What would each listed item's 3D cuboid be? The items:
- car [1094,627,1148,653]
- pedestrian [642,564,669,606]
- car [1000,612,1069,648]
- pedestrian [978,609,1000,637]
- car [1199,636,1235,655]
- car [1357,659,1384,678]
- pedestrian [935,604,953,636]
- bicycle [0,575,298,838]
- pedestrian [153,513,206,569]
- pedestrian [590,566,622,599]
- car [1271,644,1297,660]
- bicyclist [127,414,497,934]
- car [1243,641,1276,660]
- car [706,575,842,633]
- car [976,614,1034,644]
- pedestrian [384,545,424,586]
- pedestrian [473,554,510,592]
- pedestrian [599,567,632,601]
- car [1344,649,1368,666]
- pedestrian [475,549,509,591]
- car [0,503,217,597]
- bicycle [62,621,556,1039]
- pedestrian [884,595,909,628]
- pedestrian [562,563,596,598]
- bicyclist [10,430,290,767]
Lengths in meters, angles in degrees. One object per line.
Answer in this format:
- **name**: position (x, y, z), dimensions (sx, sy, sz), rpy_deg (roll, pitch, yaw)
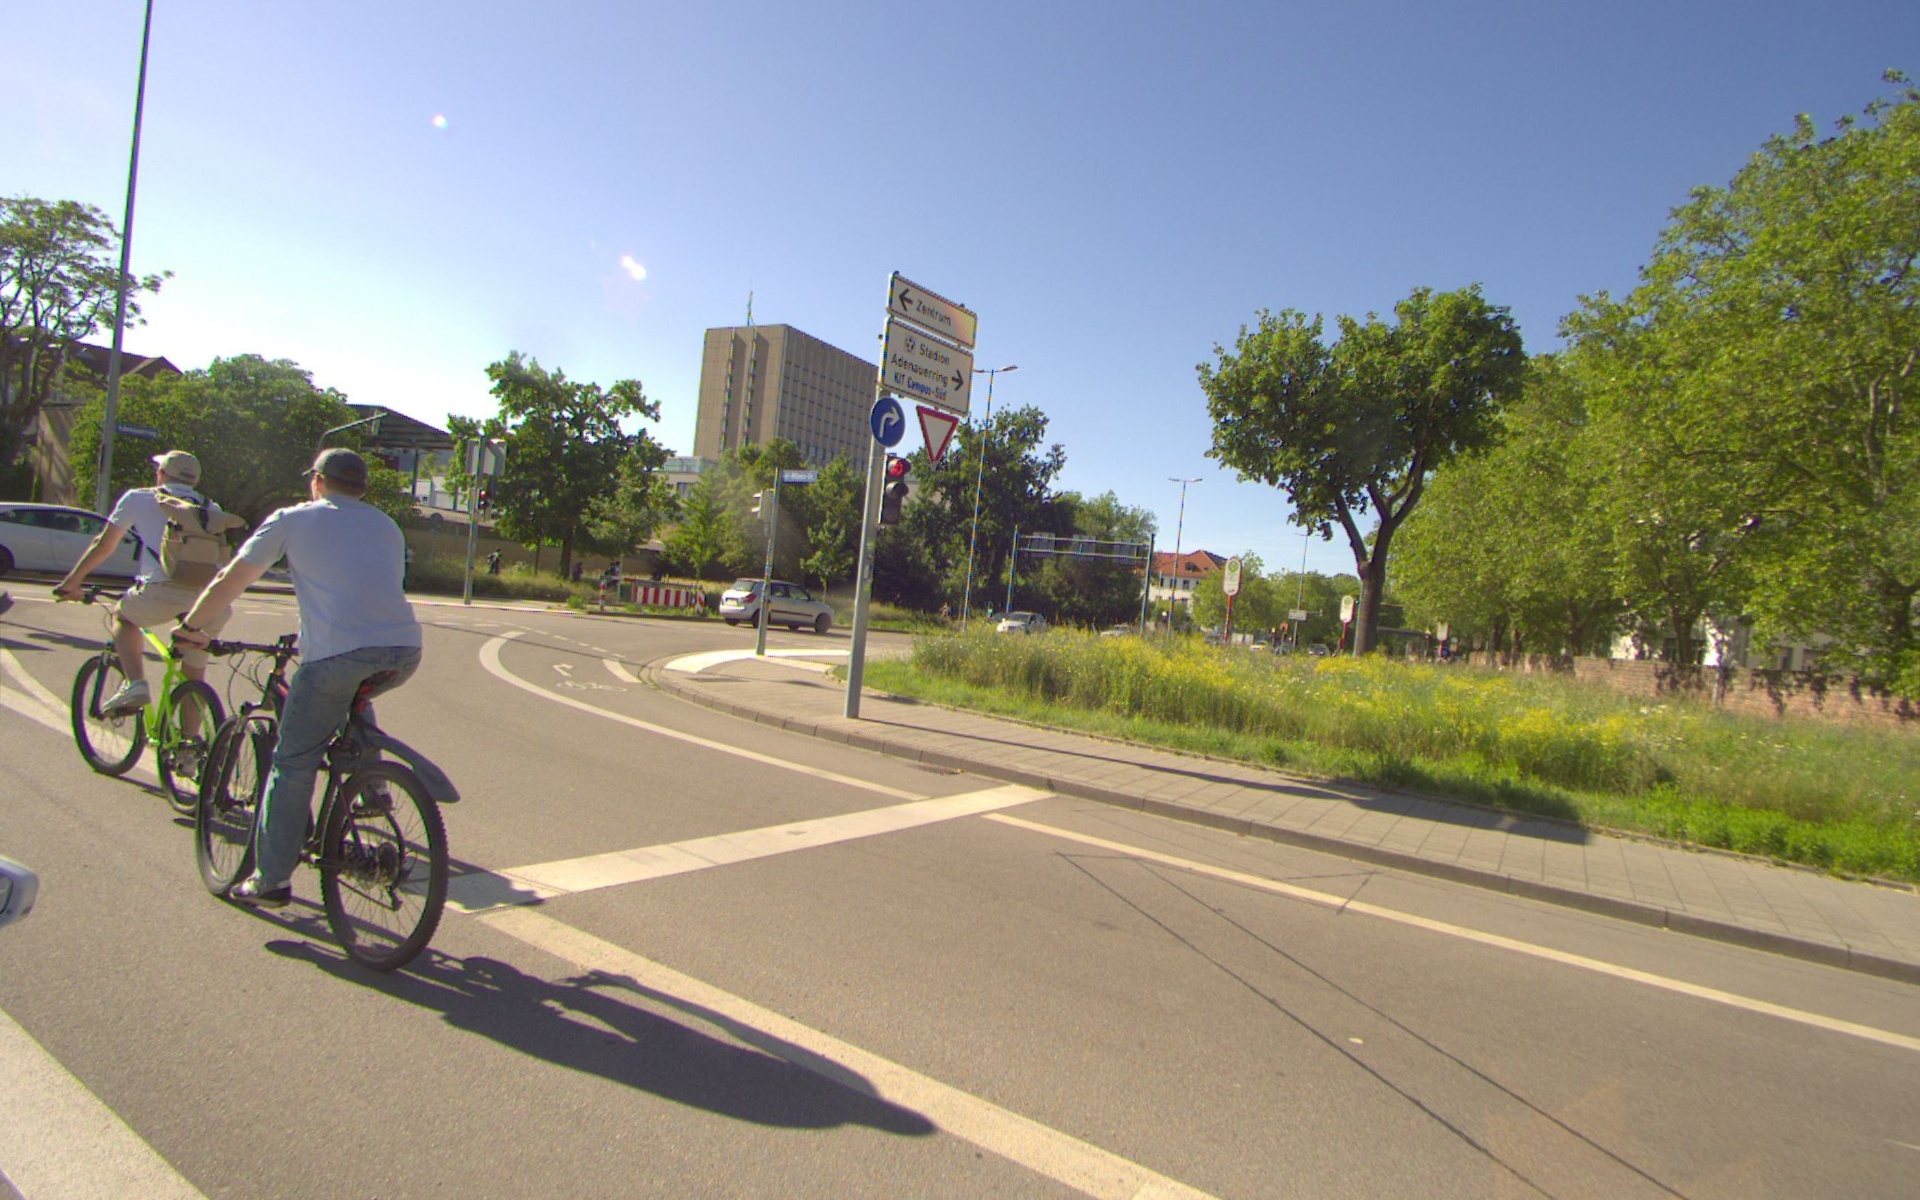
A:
- **car**: position (12.506, 3.109, 78.055), dimensions (1.909, 1.613, 4.860), rpy_deg (7, 0, 38)
- **pedestrian**: position (-16.369, -0.802, 54.020), dimensions (0.800, 2.106, 0.896), rpy_deg (7, 1, 35)
- **car**: position (4.290, 1.744, 57.503), dimensions (1.882, 1.625, 4.124), rpy_deg (7, 0, 37)
- **pedestrian**: position (2.335, 1.821, 80.452), dimensions (1.065, 2.106, 1.231), rpy_deg (7, 1, 35)
- **car**: position (26.594, 4.696, 103.923), dimensions (1.969, 1.625, 4.504), rpy_deg (7, 0, 35)
- **car**: position (38.852, 6.498, 95.151), dimensions (1.712, 1.535, 3.993), rpy_deg (7, 0, 29)
- **pedestrian**: position (-1.158, 1.420, 72.374), dimensions (0.633, 2.194, 0.912), rpy_deg (7, 1, 35)
- **bicycle**: position (-4.424, 0.508, 5.363), dimensions (1.813, 1.063, 0.672), rpy_deg (6, -1, 31)
- **pedestrian**: position (-28.990, -2.176, 37.381), dimensions (0.953, 1.879, 1.294), rpy_deg (7, 1, 43)
- **pedestrian**: position (-17.942, -0.897, 51.007), dimensions (0.865, 1.540, 1.144), rpy_deg (7, 1, 35)
- **car**: position (39.395, 6.292, 122.173), dimensions (1.891, 1.625, 4.073), rpy_deg (7, 0, 33)
- **bicyclist**: position (-2.429, 0.228, 3.797), dimensions (0.851, 1.695, 0.741), rpy_deg (7, 1, 30)
- **car**: position (31.385, 5.296, 105.255), dimensions (1.968, 1.625, 4.127), rpy_deg (7, 0, 35)
- **car**: position (-5.803, 0.154, 31.680), dimensions (1.866, 1.419, 3.842), rpy_deg (3, -4, 40)
- **car**: position (2.925, 1.873, 64.406), dimensions (1.806, 1.590, 3.990), rpy_deg (7, 0, 33)
- **pedestrian**: position (-23.324, -1.443, 42.200), dimensions (0.917, 1.540, 1.083), rpy_deg (7, 1, 41)
- **pedestrian**: position (-20.848, -1.199, 44.764), dimensions (0.865, 1.540, 1.074), rpy_deg (7, 1, 36)
- **pedestrian**: position (-17.313, -0.798, 50.564), dimensions (0.975, 1.540, 1.129), rpy_deg (7, 1, 35)
- **car**: position (55.459, 8.077, 140.904), dimensions (1.968, 2.062, 4.836), rpy_deg (7, 0, 33)
- **pedestrian**: position (-21.402, -1.371, 45.987), dimensions (0.912, 1.754, 0.962), rpy_deg (7, 1, 37)
- **car**: position (-16.756, -0.978, 19.084), dimensions (1.736, 1.390, 3.979), rpy_deg (7, 0, 43)
- **bicycle**: position (-2.509, 0.725, 3.815), dimensions (1.871, 1.064, 0.748), rpy_deg (6, 1, 30)
- **pedestrian**: position (-4.336, 0.760, 68.594), dimensions (0.966, 2.106, 1.186), rpy_deg (7, 1, 35)
- **pedestrian**: position (-18.666, -0.955, 49.276), dimensions (0.927, 1.540, 1.145), rpy_deg (7, 1, 38)
- **bicyclist**: position (-4.286, -0.021, 5.328), dimensions (1.063, 1.601, 0.675), rpy_deg (7, -1, 31)
